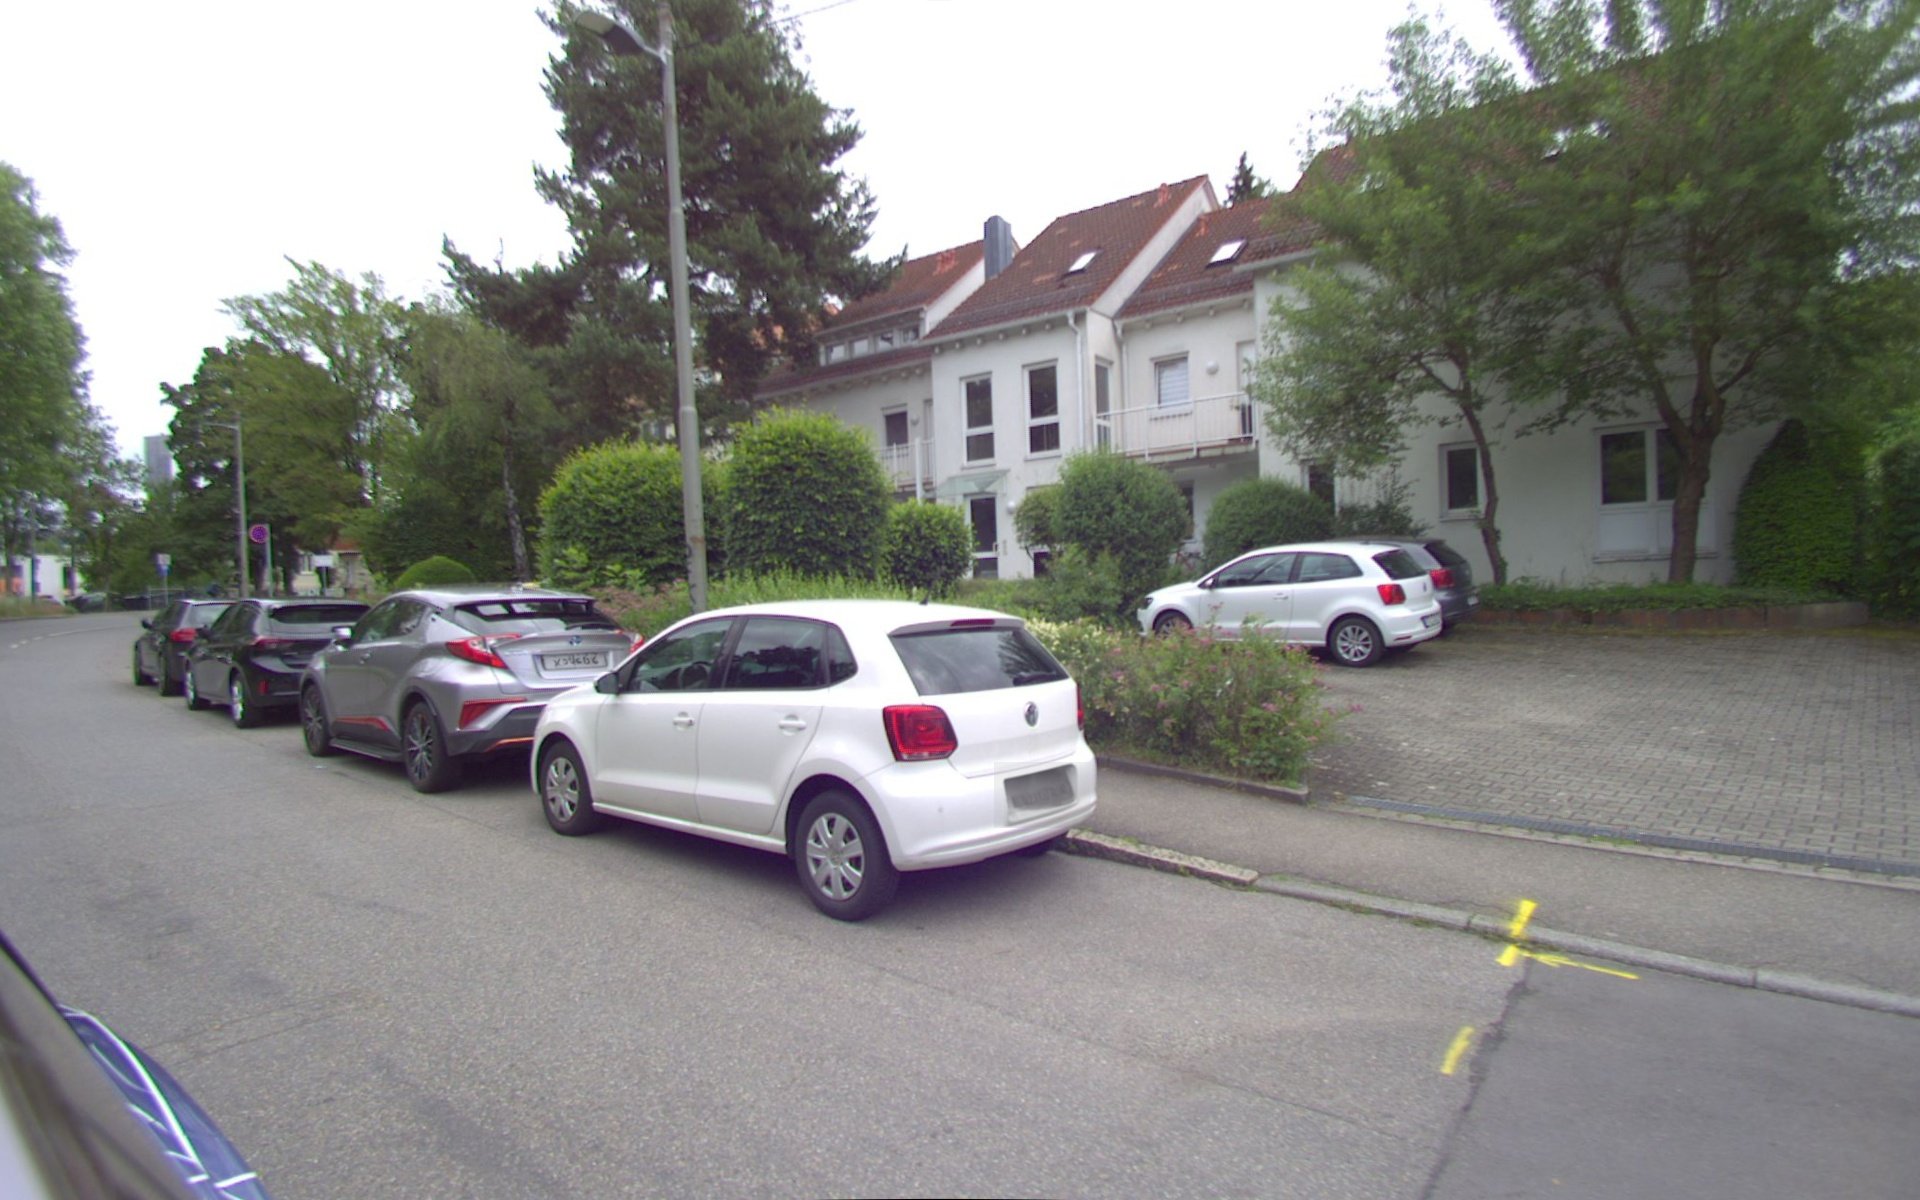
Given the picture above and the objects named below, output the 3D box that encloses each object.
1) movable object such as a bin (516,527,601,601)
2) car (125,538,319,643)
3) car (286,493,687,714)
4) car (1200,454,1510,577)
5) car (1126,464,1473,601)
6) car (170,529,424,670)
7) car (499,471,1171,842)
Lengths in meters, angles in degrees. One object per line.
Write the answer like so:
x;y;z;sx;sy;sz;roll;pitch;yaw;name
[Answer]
-8.310;-0.726;20.954;1.453;1.478;1.081;0;2;42;movable object such as a bin
-11.899;-0.192;16.198;4.506;1.429;1.716;1;4;44;car
-4.291;-0.041;8.865;4.127;1.491;1.742;1;3;43;car
5.913;-1.241;15.366;3.997;1.584;1.804;1;8;40;car
4.368;-0.843;13.348;3.933;1.468;1.686;0;7;42;car
-8.409;-0.098;12.678;4.333;1.452;1.632;2;5;43;car
-0.924;0.127;5.910;3.925;1.490;1.607;2;6;40;car
